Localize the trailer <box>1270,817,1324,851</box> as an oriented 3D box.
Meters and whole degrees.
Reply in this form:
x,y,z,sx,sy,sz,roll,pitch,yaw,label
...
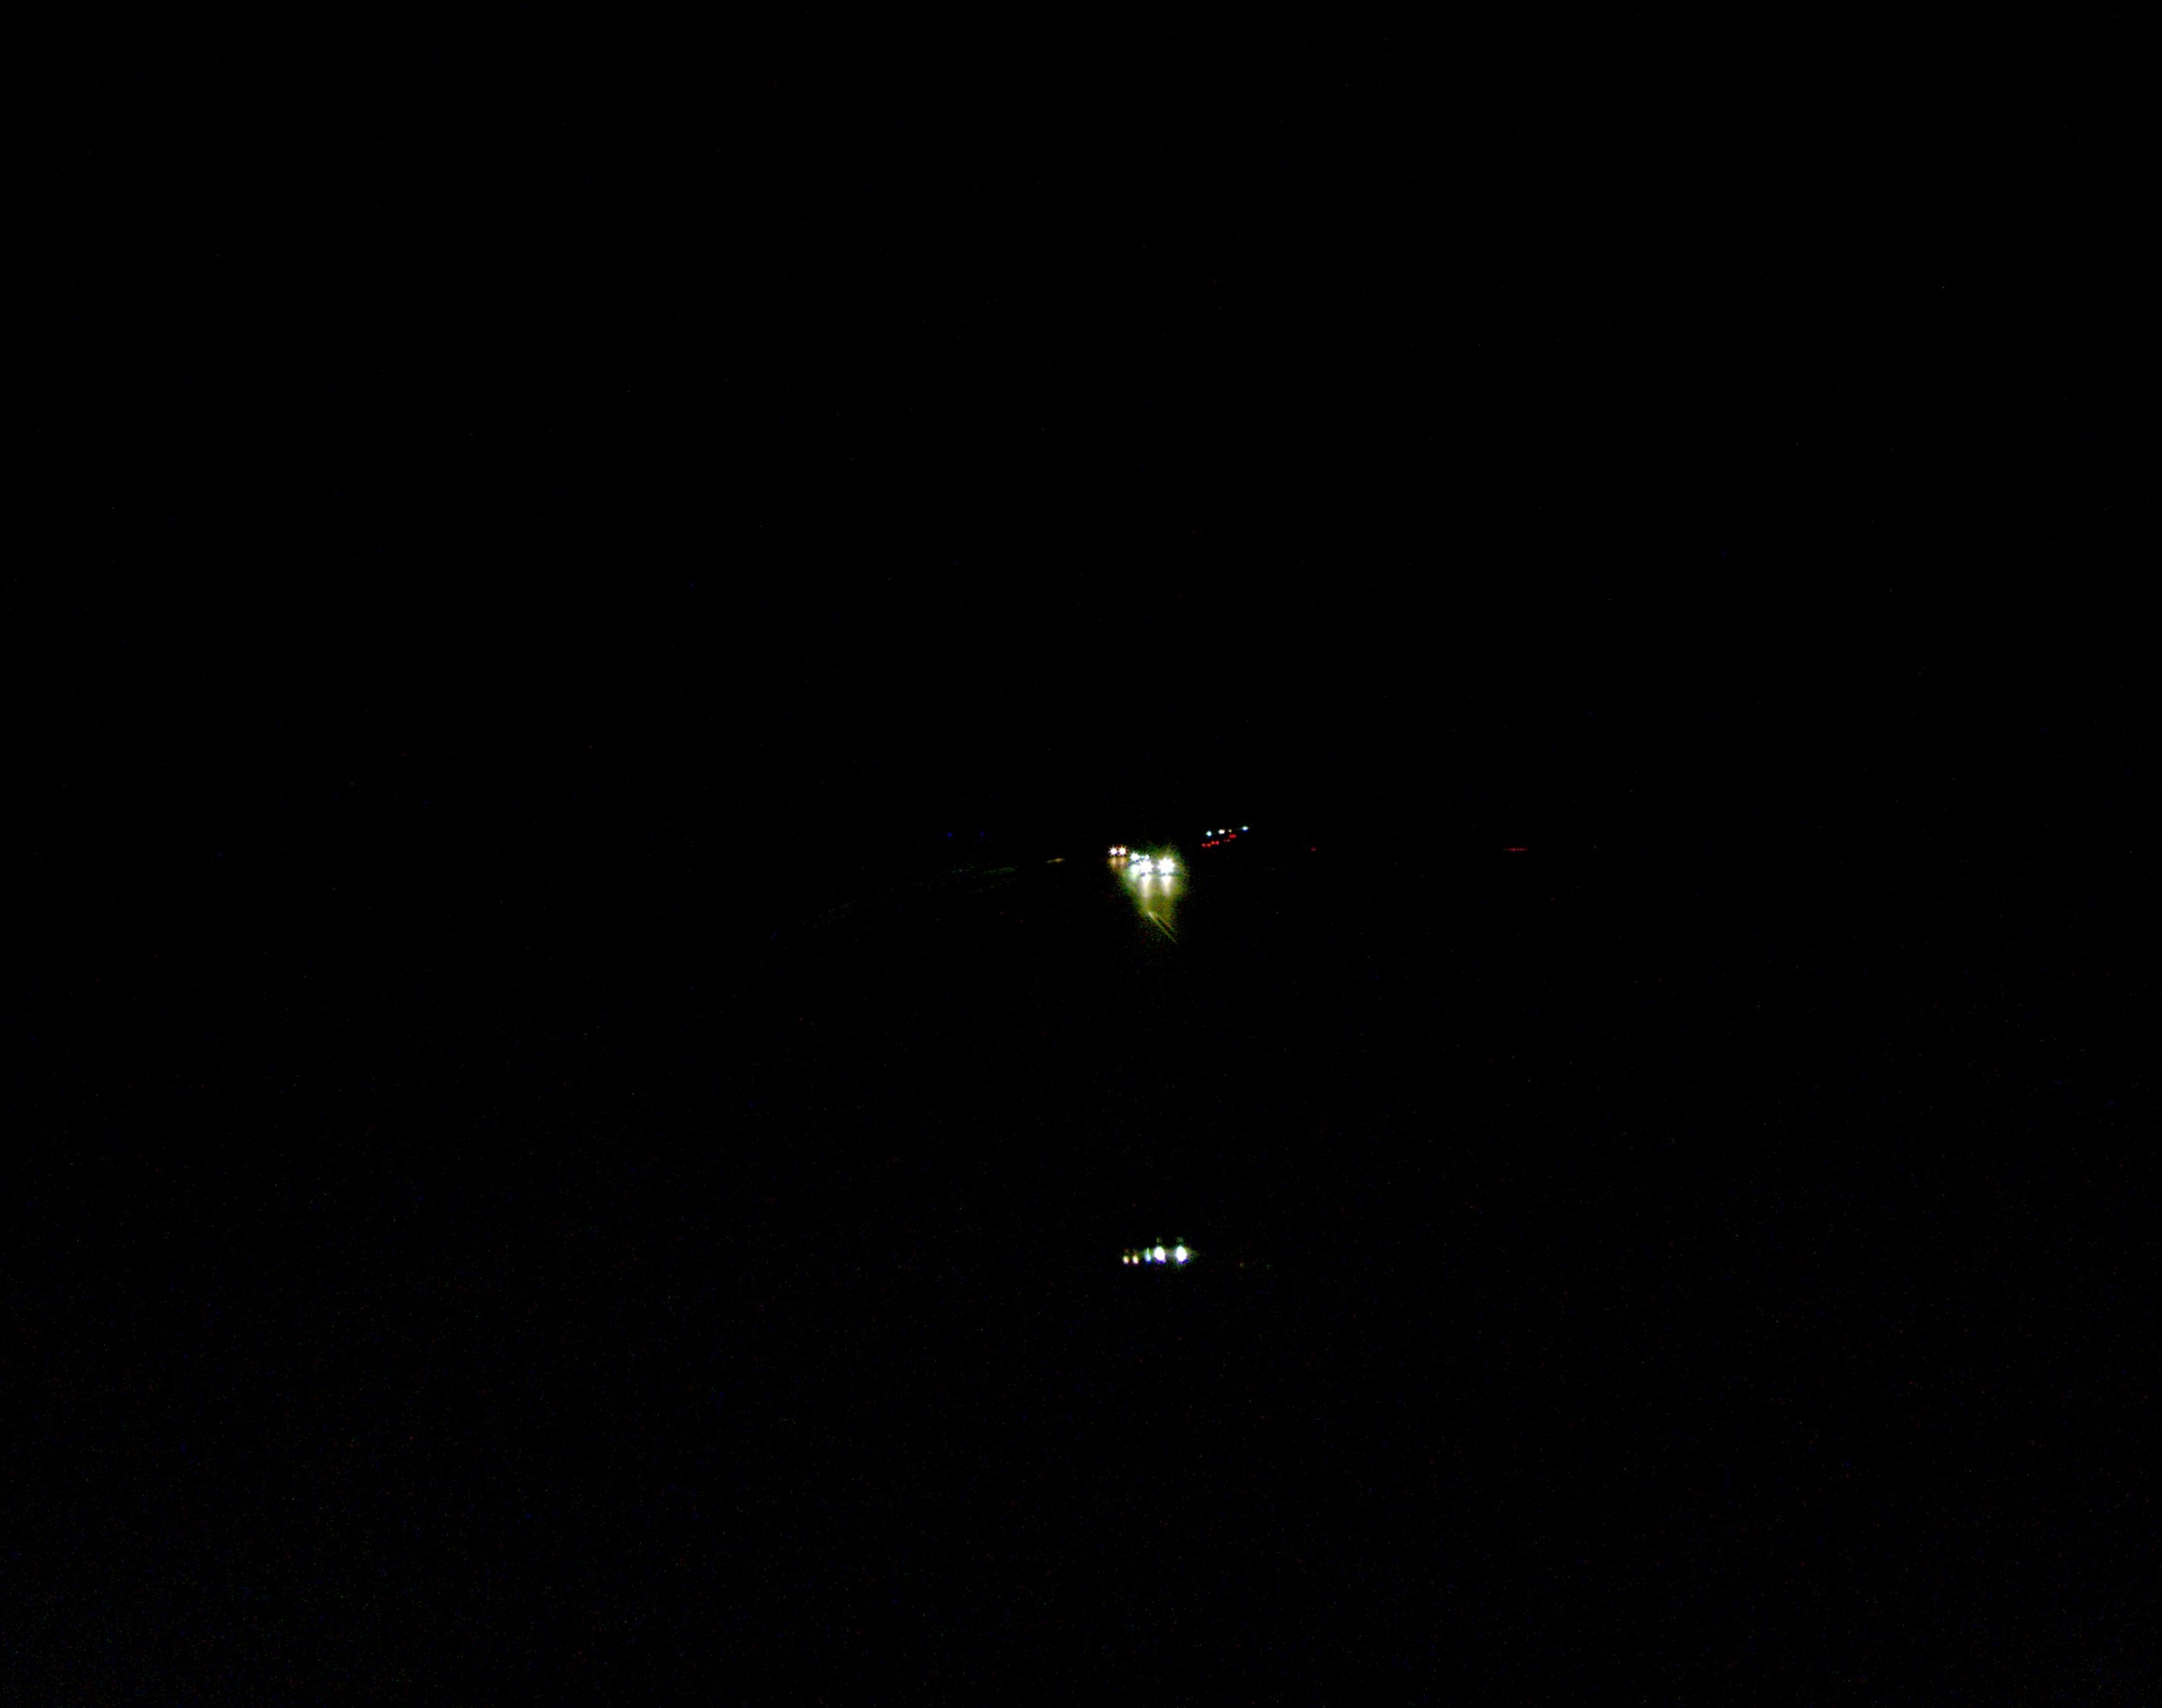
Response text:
x,y,z,sx,sy,sz,roll,pitch,yaw,label
28.332,-2.566,100.658,3.607,4.067,14.124,-2,1,2,trailer

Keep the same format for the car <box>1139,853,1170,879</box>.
x,y,z,sx,sy,sz,roll,pitch,yaw,label
4.756,0.739,48.737,1.832,1.404,4.001,-3,2,7,car

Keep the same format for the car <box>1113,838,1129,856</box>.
x,y,z,sx,sy,sz,roll,pitch,yaw,label
6.956,-1.220,131.105,2.533,2.889,6.227,-3,2,4,car

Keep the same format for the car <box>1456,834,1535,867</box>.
x,y,z,sx,sy,sz,roll,pitch,yaw,label
25.299,-0.246,46.571,2.403,1.865,4.512,-1,1,1,car

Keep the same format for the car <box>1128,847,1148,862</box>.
x,y,z,sx,sy,sz,roll,pitch,yaw,label
6.307,0.036,84.571,1.998,1.456,3.999,-3,2,1,car

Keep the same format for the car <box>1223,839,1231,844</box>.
x,y,z,sx,sy,sz,roll,pitch,yaw,label
46.431,-4.044,241.359,1.998,1.499,4.001,-2,1,6,car

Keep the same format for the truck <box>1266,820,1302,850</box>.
x,y,z,sx,sy,sz,roll,pitch,yaw,label
28.599,-2.668,107.403,3.598,4.076,5.994,-2,1,2,truck

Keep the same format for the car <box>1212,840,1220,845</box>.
x,y,z,sx,sy,sz,roll,pitch,yaw,label
39.428,-3.398,222.019,1.998,1.499,4.001,-2,1,6,car
